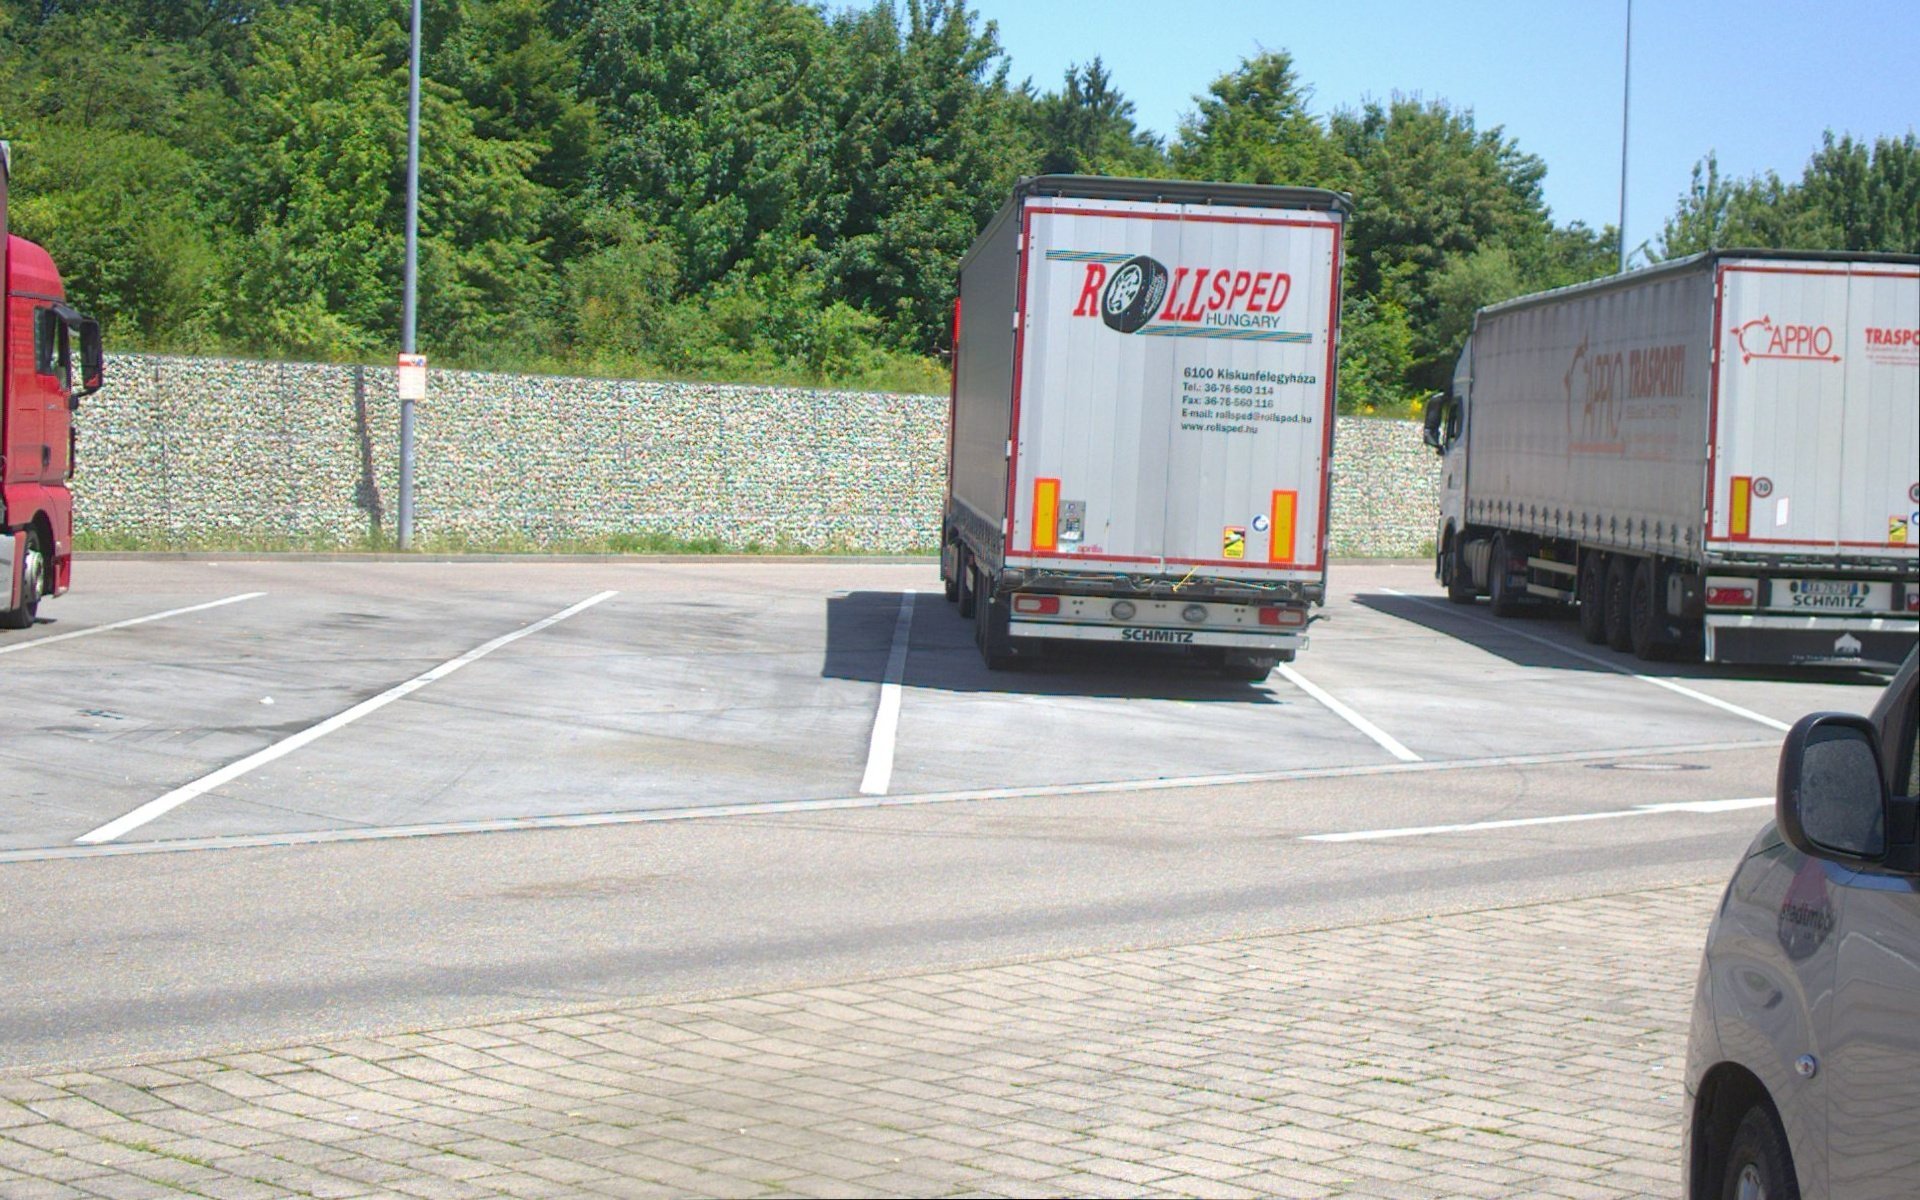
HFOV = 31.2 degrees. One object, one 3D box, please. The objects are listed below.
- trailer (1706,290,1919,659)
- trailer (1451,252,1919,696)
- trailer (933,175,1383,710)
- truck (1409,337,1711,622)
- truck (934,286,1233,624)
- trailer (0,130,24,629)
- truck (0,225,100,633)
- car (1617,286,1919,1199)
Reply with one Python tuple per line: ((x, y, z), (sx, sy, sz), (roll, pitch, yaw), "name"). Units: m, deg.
((11.768, -1.452, 39.756), (2.811, 3.976, 14.396), (2, 3, -1), "trailer")
((8.127, -1.520, 38.704), (2.811, 3.976, 14.396), (2, 3, -1), "trailer")
((1.460, -1.591, 33.592), (3.133, 3.976, 14.397), (2, 3, -1), "trailer")
((8.034, -1.696, 46.804), (2.862, 3.509, 5.900), (2, 3, -1), "truck")
((1.324, -1.733, 40.484), (3.103, 3.554, 5.900), (2, 3, -1), "truck")
((-9.182, -1.488, 21.542), (2.791, 4.071, 14.133), (2, 3, -1), "trailer")
((-9.226, -1.444, 28.116), (2.851, 3.316, 5.900), (2, 3, -1), "truck")
((2.161, 0.588, 3.823), (1.869, 1.857, 4.177), (2, 2, -2), "car")
